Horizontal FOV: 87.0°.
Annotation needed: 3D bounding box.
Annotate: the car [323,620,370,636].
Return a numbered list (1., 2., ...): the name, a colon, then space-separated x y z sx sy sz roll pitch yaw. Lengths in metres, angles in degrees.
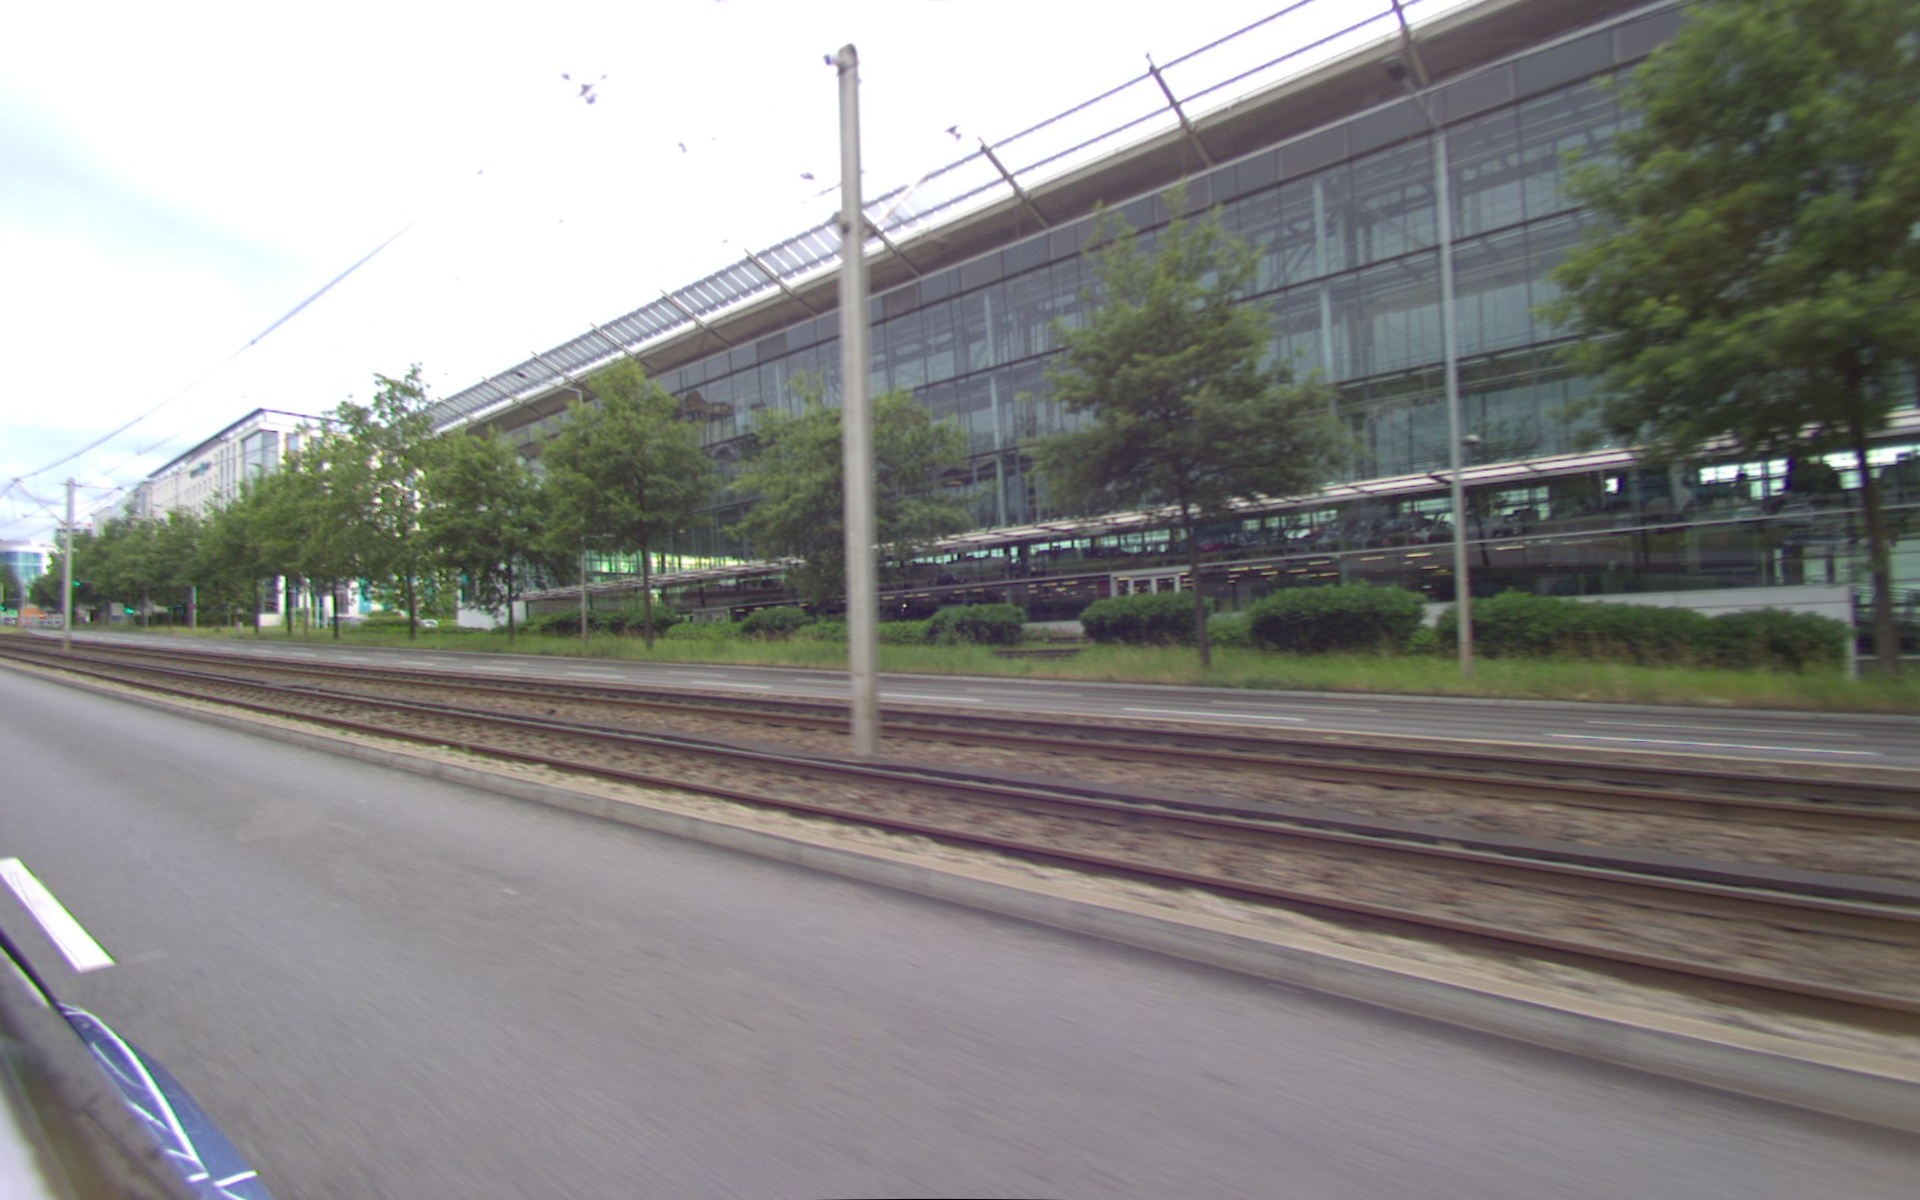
1. car: -63.150 2.869 104.212 3.931 1.401 1.809 -1 1 -22
